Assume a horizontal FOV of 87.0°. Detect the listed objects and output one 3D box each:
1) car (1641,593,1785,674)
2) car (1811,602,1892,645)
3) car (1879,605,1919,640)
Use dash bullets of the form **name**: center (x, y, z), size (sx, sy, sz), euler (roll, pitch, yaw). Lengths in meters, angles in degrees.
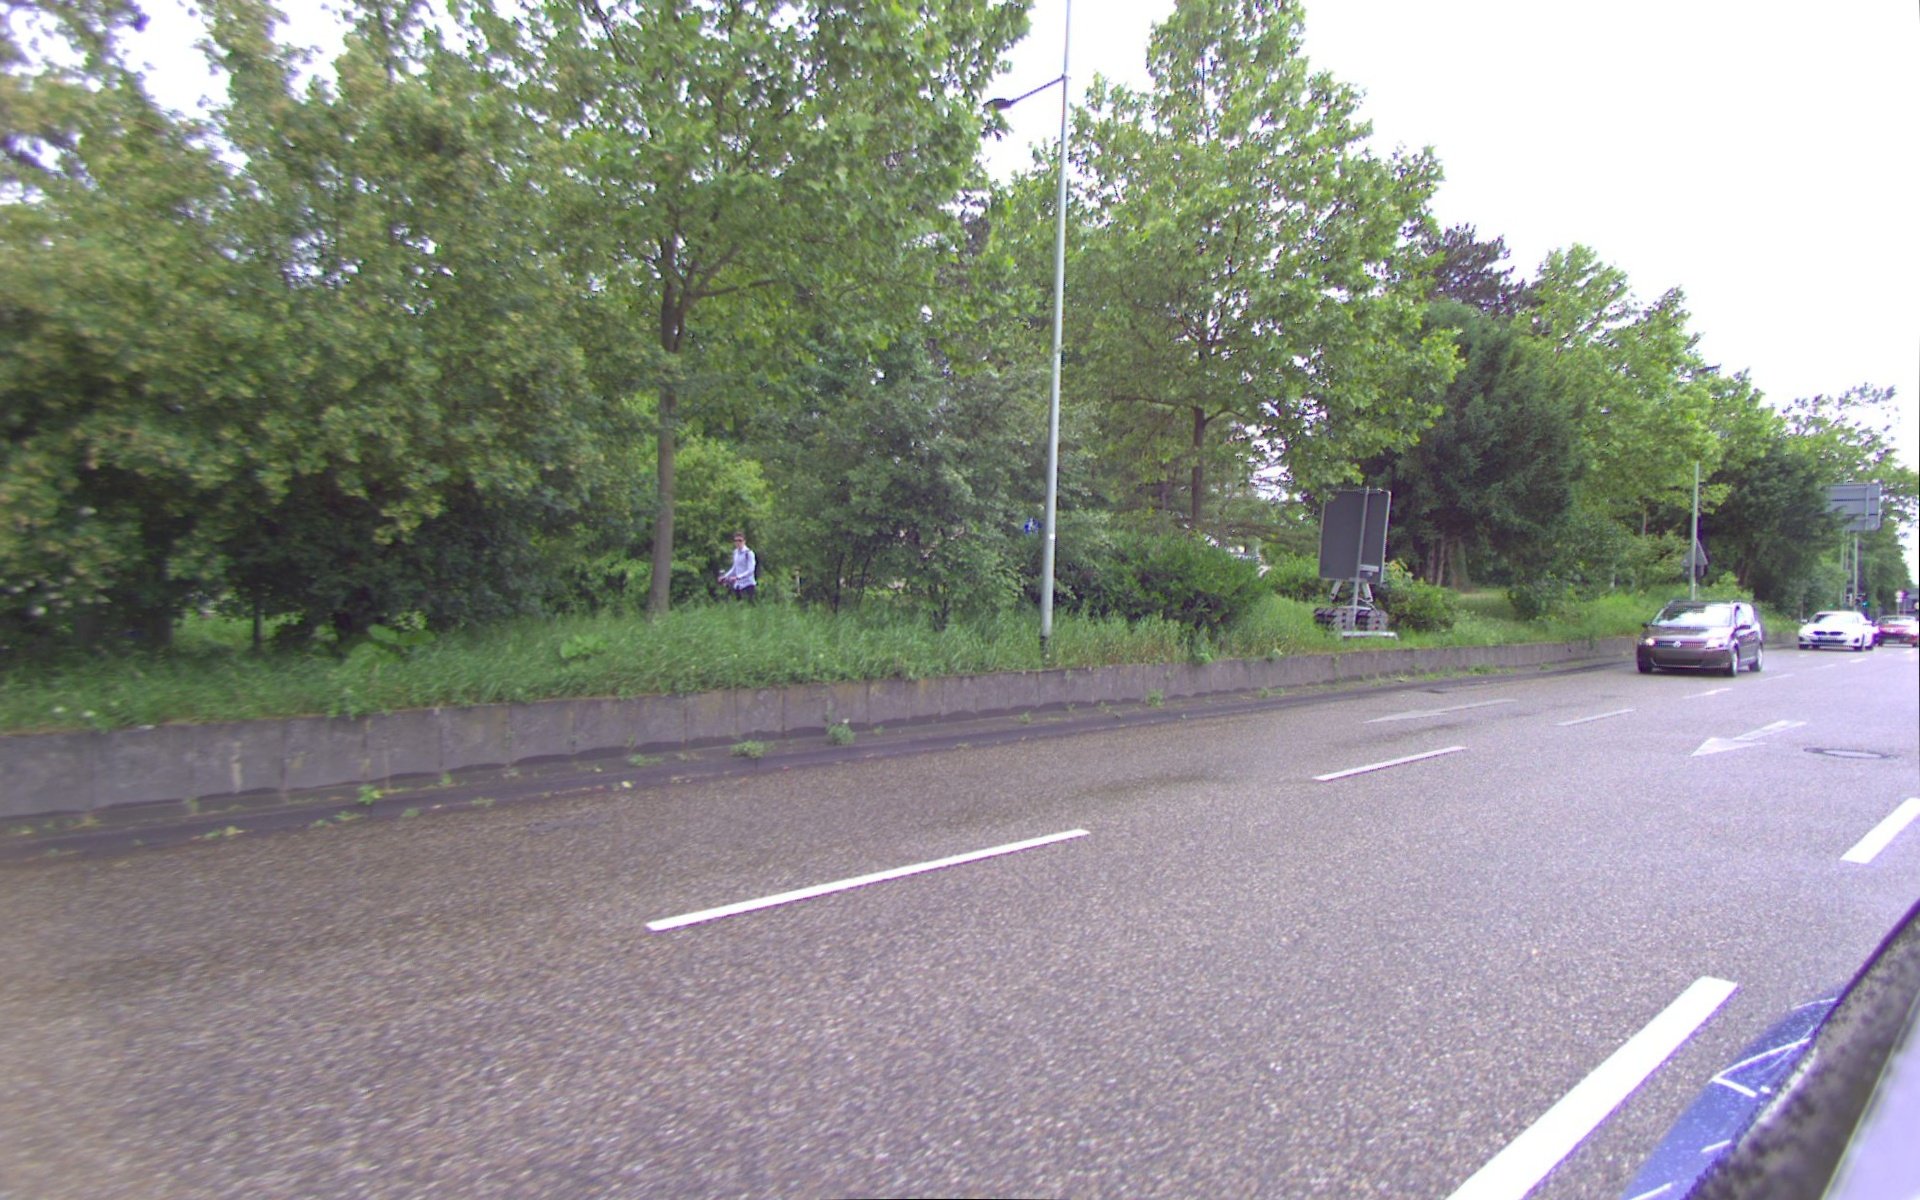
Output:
- **car**: center (16.816, 0.741, 22.552), size (3.909, 1.629, 1.750), euler (2, -1, -41)
- **car**: center (33.435, 0.891, 37.928), size (4.599, 1.475, 1.782), euler (2, -1, -42)
- **car**: center (42.716, 1.029, 45.580), size (3.477, 1.475, 1.632), euler (2, -1, -42)
